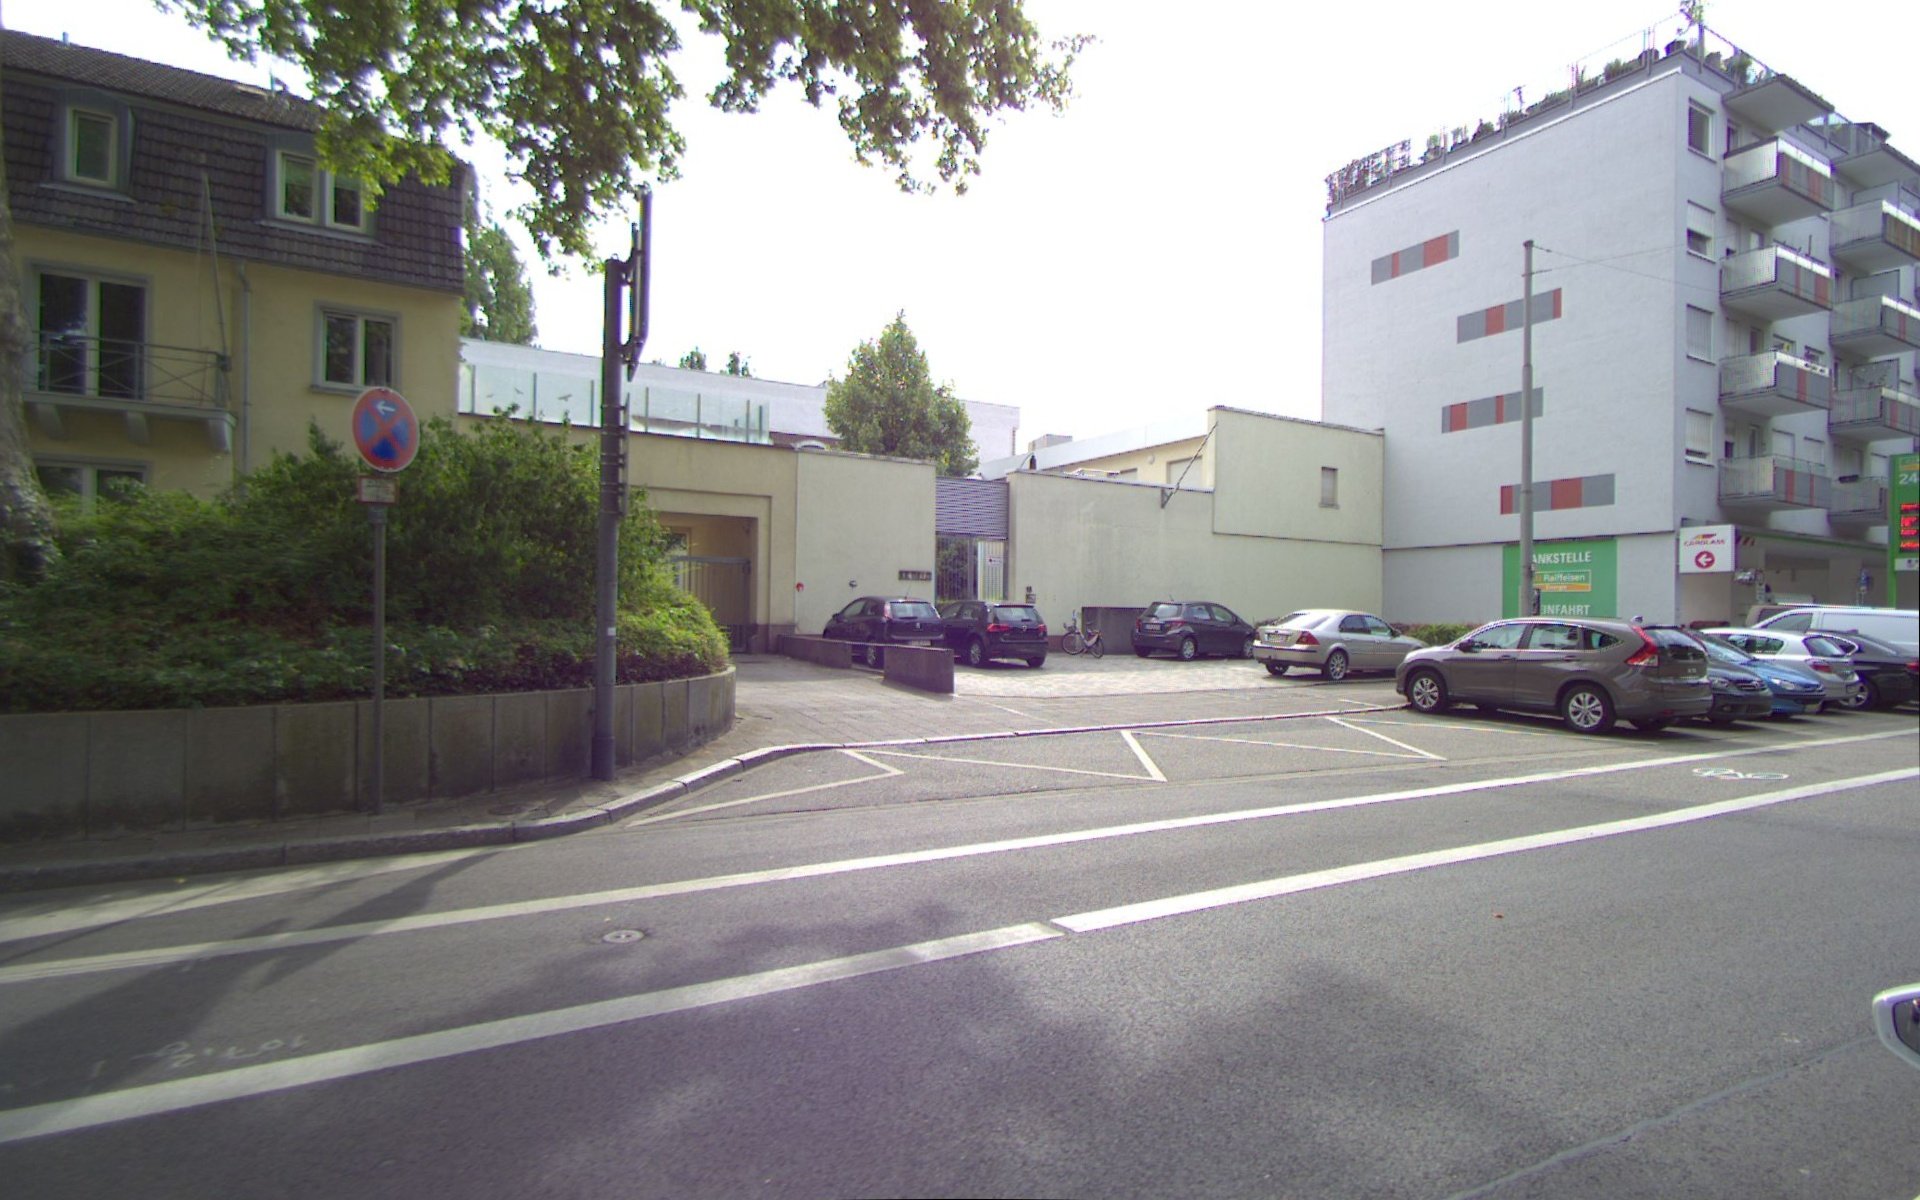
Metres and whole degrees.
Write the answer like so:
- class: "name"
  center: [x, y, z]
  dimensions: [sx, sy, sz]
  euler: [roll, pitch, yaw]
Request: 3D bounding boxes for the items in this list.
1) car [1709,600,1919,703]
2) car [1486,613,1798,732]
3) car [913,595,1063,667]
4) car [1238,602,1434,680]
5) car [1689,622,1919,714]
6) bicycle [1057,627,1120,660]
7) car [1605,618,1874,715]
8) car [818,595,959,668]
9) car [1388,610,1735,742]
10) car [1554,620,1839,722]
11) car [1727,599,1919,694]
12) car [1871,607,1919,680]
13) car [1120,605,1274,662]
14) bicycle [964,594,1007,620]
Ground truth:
- class: "car"
  center: [18.910, 1.041, 21.220]
  dimensions: [2.022, 1.904, 4.507]
  euler: [1, 1, -29]
- class: "car"
  center: [11.138, 1.089, 16.709]
  dimensions: [1.731, 1.591, 3.925]
  euler: [1, 1, -27]
- class: "car"
  center: [0.547, 0.668, 23.330]
  dimensions: [1.892, 1.485, 3.974]
  euler: [1, 0, -25]
- class: "car"
  center: [8.262, 0.869, 22.000]
  dimensions: [4.184, 1.539, 1.749]
  euler: [1, 0, -30]
- class: "car"
  center: [16.808, 1.250, 19.693]
  dimensions: [1.733, 1.464, 3.664]
  euler: [1, 1, -30]
- class: "bicycle"
  center: [3.264, 1.099, 25.730]
  dimensions: [0.485, 0.752, 1.973]
  euler: [1, -1, -31]
- class: "car"
  center: [14.733, 1.168, 19.177]
  dimensions: [1.733, 1.505, 3.663]
  euler: [1, 1, -30]
- class: "car"
  center: [-1.702, 0.633, 22.602]
  dimensions: [1.865, 1.439, 3.974]
  euler: [0, 1, -25]
- class: "car"
  center: [9.091, 1.021, 15.587]
  dimensions: [1.944, 1.627, 4.238]
  euler: [0, 1, -29]
- class: "car"
  center: [12.859, 1.157, 17.767]
  dimensions: [1.733, 1.446, 3.663]
  euler: [1, 1, -30]
- class: "car"
  center: [20.895, 1.035, 22.997]
  dimensions: [1.977, 1.929, 4.892]
  euler: [1, 1, -30]
- class: "car"
  center: [26.677, 1.215, 25.952]
  dimensions: [1.803, 1.895, 4.285]
  euler: [2, 1, -31]
- class: "car"
  center: [6.283, 0.832, 26.497]
  dimensions: [3.961, 1.350, 1.800]
  euler: [0, 1, -36]
- class: "bicycle"
  center: [0.740, 0.222, 30.082]
  dimensions: [0.483, 0.752, 1.978]
  euler: [1, -1, -24]
